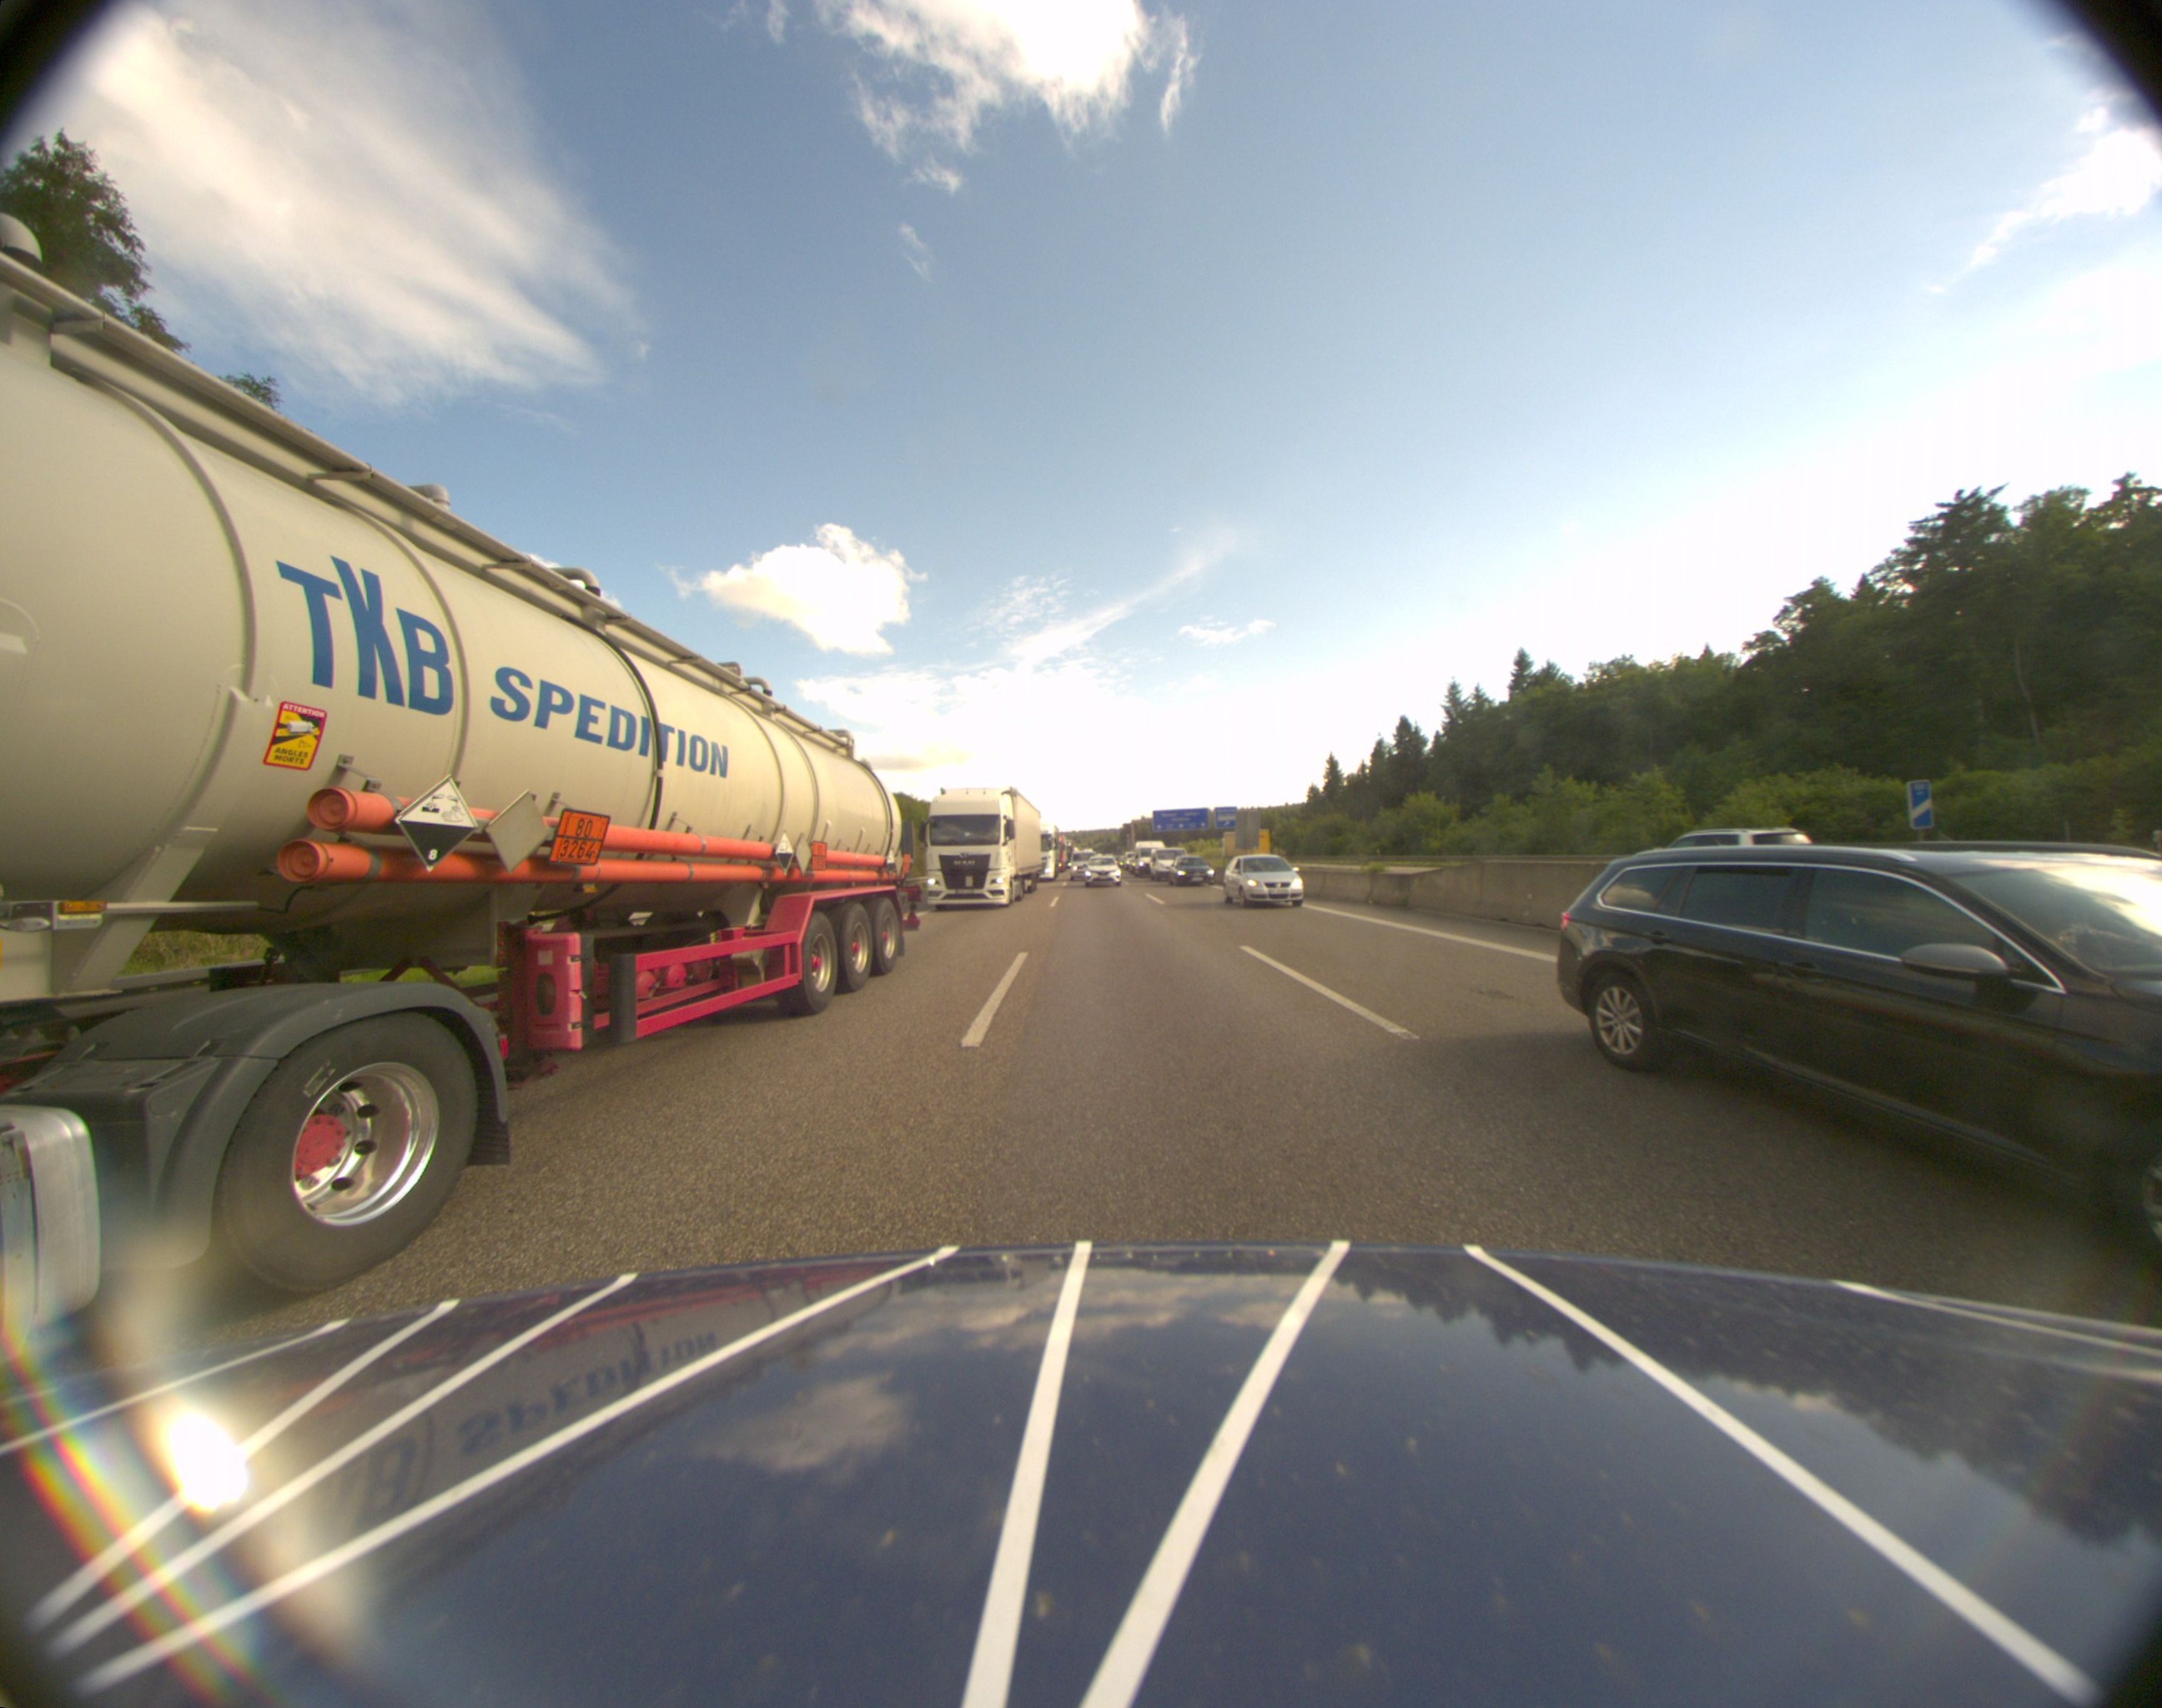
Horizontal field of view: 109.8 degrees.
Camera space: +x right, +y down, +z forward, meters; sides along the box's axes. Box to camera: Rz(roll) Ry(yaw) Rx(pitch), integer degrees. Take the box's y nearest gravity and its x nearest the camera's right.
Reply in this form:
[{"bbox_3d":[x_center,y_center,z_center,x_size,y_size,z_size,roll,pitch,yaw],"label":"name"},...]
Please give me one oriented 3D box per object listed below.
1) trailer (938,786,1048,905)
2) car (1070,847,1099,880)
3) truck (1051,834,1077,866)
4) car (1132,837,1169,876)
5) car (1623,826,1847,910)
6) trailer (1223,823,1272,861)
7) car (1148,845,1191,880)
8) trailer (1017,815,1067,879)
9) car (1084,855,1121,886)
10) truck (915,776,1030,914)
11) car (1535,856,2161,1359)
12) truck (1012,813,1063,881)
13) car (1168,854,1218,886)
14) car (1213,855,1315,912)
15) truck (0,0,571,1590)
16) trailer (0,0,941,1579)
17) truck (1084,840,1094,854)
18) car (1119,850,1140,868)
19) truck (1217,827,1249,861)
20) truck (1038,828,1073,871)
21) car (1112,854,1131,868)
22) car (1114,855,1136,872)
[{"bbox_3d":[-3.332,-0.319,32.959,2.833,4.047,13.371,-2,0,1],"label":"trailer"},{"bbox_3d":[0.230,0.605,50.973,1.809,2.052,4.769,-2,0,0],"label":"car"},{"bbox_3d":[-2.292,-0.582,107.813,2.841,4.178,12.045,-2,1,2],"label":"truck"},{"bbox_3d":[4.904,0.169,54.280,2.054,2.557,5.861,-1,0,0],"label":"car"},{"bbox_3d":[16.127,0.311,19.108,1.857,1.799,4.323,-2,0,0],"label":"car"},{"bbox_3d":[20.043,-1.422,92.650,2.841,4.178,13.560,-2,1,0],"label":"trailer"},{"bbox_3d":[5.241,0.477,45.525,1.947,1.953,4.847,-2,0,0],"label":"car"},{"bbox_3d":[-2.767,-0.482,58.252,2.841,4.177,13.612,-2,0,1],"label":"trailer"},{"bbox_3d":[1.070,0.818,39.781,1.809,1.487,4.666,-2,0,0],"label":"car"},{"bbox_3d":[-3.462,-0.280,25.705,2.841,4.048,5.707,-2,0,1],"label":"truck"},{"bbox_3d":[4.308,0.787,3.420,1.915,1.469,4.569,-2,0,2],"label":"car"},{"bbox_3d":[-2.838,-0.451,51.086,2.841,4.177,5.707,-2,0,1],"label":"truck"},{"bbox_3d":[5.402,0.738,37.016,1.809,1.423,3.993,-2,0,0],"label":"car"},{"bbox_3d":[5.191,0.774,22.196,1.809,1.423,4.666,-2,0,0],"label":"car"},{"bbox_3d":[-4.031,-0.225,0.777,2.810,4.020,5.903,-2,0,1],"label":"truck"},{"bbox_3d":[-3.927,-0.269,7.221,2.805,4.003,11.182,-2,0,1],"label":"trailer"},{"bbox_3d":[2.577,-2.280,236.312,2.841,4.178,12.045,-2,1,2],"label":"truck"},{"bbox_3d":[5.096,0.469,80.694,1.920,1.785,3.811,-2,0,0],"label":"car"},{"bbox_3d":[20.030,-1.340,100.413,2.841,4.178,6.078,-2,1,0],"label":"truck"},{"bbox_3d":[-2.680,-0.526,82.773,2.841,4.178,12.045,-2,1,2],"label":"truck"},{"bbox_3d":[4.761,0.832,89.755,1.920,1.535,3.811,-2,0,0],"label":"car"},{"bbox_3d":[4.125,0.888,71.851,1.809,1.423,3.660,-2,0,0],"label":"car"}]
